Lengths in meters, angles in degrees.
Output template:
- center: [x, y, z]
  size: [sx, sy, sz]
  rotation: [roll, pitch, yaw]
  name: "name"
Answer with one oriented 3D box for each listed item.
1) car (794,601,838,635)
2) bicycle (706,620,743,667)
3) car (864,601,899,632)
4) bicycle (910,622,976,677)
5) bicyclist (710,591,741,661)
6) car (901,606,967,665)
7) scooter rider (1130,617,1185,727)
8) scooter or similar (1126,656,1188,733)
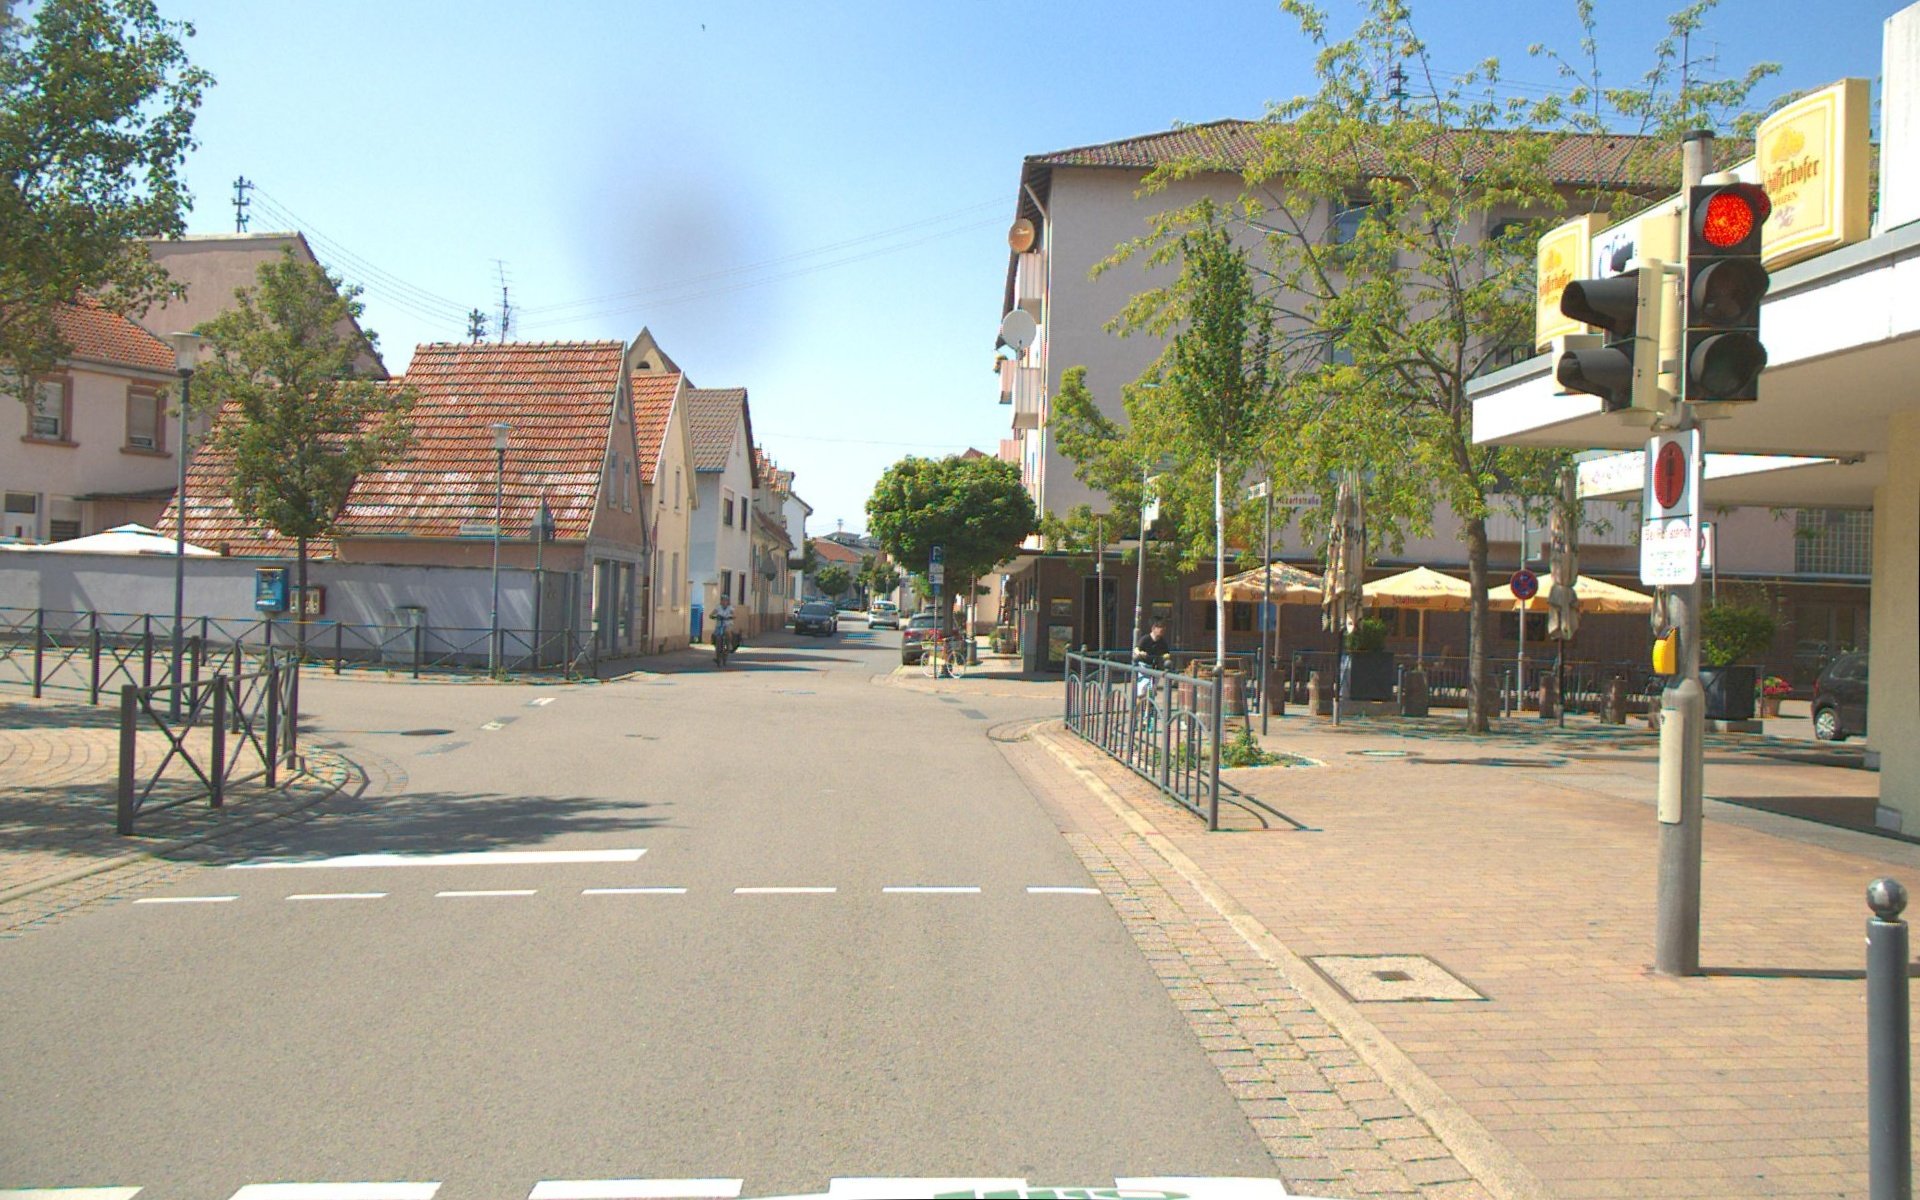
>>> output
- center: [-6.787, 0.831, 78.083]
  size: [1.679, 1.543, 3.786]
  rotation: [2, 0, 0]
  name: "car"
- center: [-5.798, 1.065, 40.846]
  size: [0.660, 1.113, 1.895]
  rotation: [0, 0, -1]
  name: "bicycle"
- center: [-4.557, 0.962, 96.494]
  size: [1.796, 1.681, 3.999]
  rotation: [2, 0, -1]
  name: "car"
- center: [-0.414, 1.155, 38.598]
  size: [0.523, 1.214, 1.648]
  rotation: [2, -1, -44]
  name: "bicycle"
- center: [-5.797, 0.640, 40.842]
  size: [0.655, 1.720, 0.761]
  rotation: [1, -1, -1]
  name: "bicyclist"
- center: [-0.708, 0.984, 47.367]
  size: [1.768, 1.528, 4.000]
  rotation: [2, 0, 0]
  name: "car"
- center: [2.404, 0.876, 20.159]
  size: [0.508, 1.308, 0.415]
  rotation: [2, -1, -21]
  name: "scooter rider"
- center: [2.394, 1.139, 20.129]
  size: [0.373, 0.889, 0.885]
  rotation: [2, -1, -20]
  name: "scooter or similar"
